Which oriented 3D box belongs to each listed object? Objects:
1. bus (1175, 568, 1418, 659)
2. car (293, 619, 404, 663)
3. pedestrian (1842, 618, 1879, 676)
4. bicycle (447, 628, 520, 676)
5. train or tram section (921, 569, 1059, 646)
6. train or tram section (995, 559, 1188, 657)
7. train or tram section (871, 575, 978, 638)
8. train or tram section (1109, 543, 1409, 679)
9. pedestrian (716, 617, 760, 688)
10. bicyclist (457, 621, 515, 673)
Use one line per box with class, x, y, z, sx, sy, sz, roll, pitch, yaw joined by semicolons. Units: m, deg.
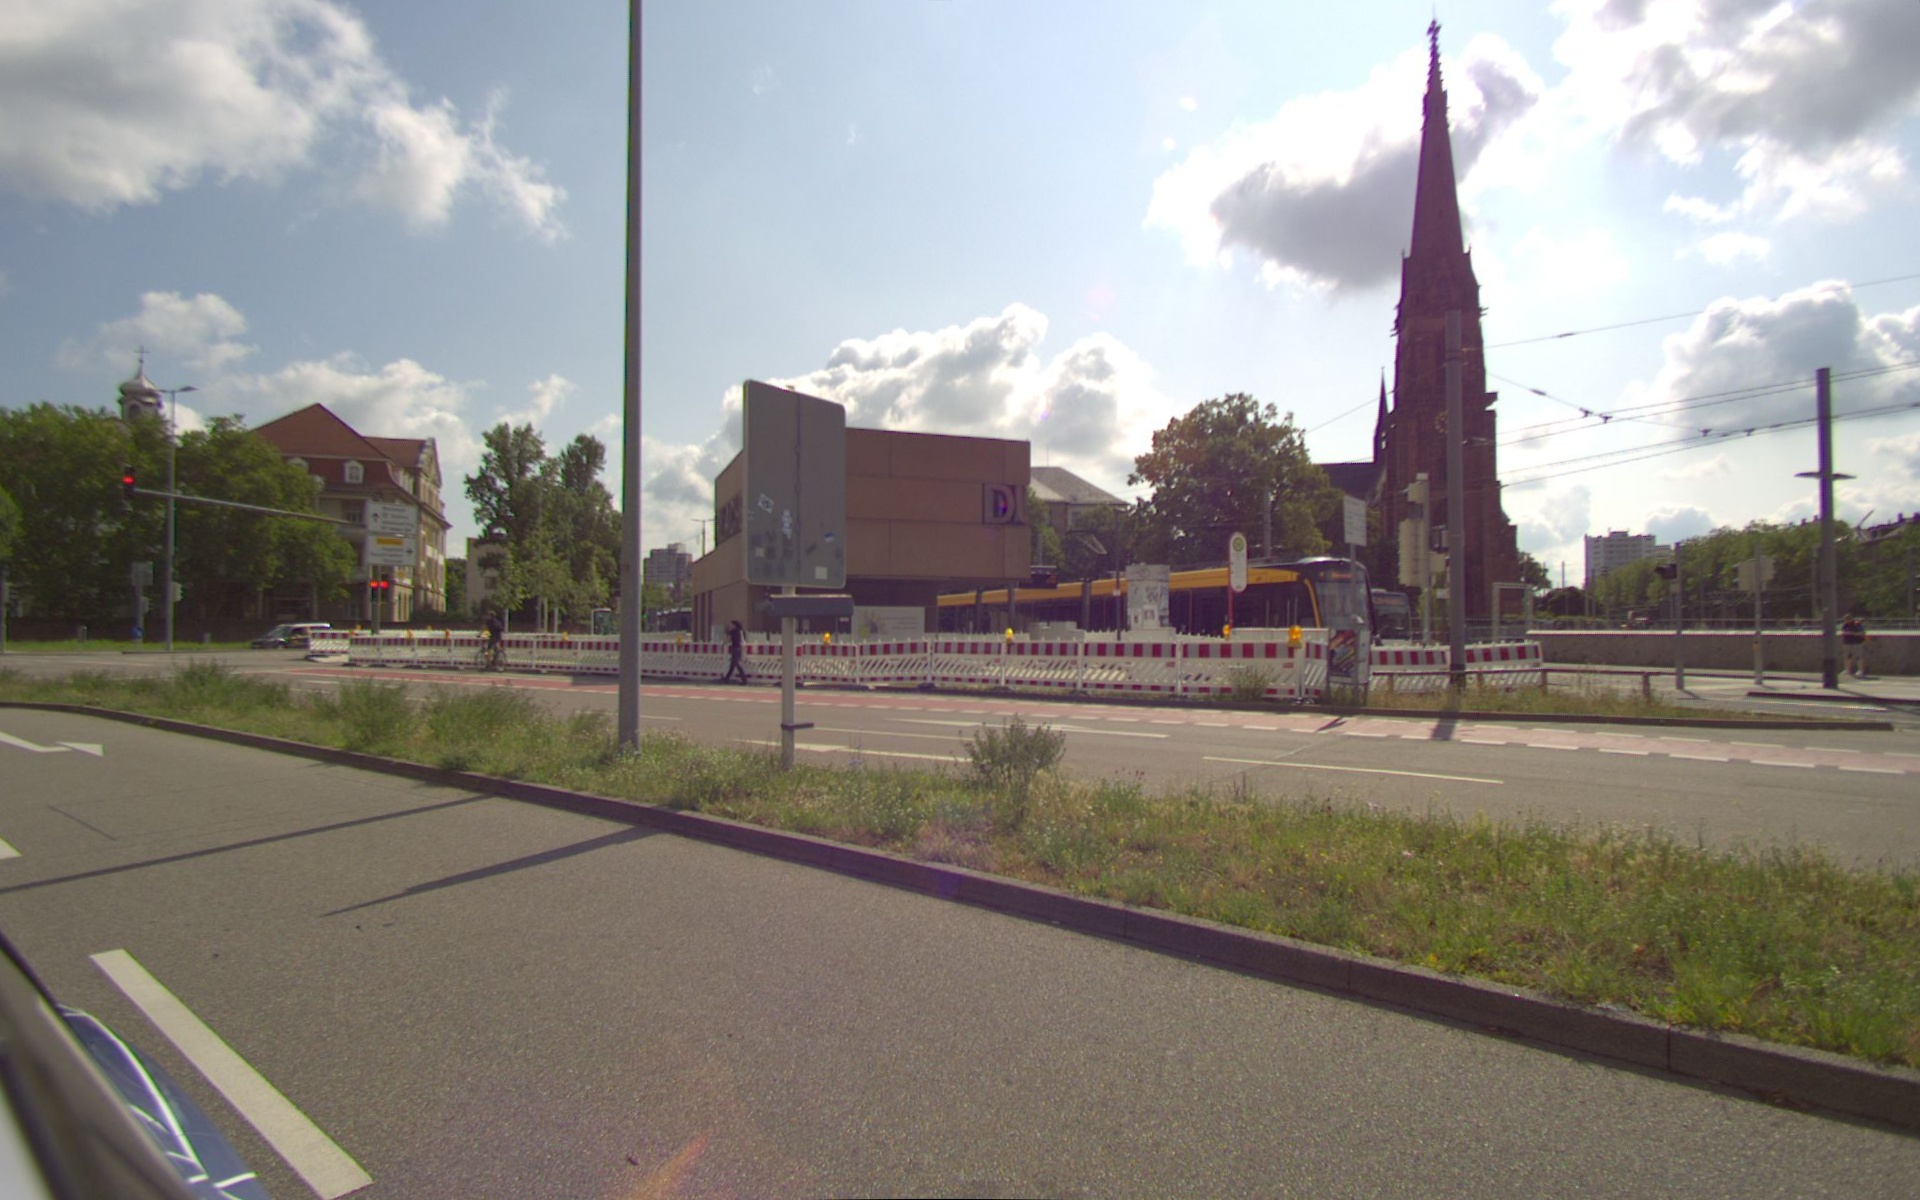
bus;14.894;0.755;46.639;2.865;3.648;12.417;1;-2;-25
car;-26.104;1.722;43.364;3.931;1.796;2.006;1;-2;-28
pedestrian;28.158;1.467;31.643;0.708;1.808;0.564;1;-2;-21
bicycle;-14.620;1.581;31.055;2.286;1.421;0.962;-1;-2;33
train or tram section;1.258;0.335;51.822;3.267;3.507;10.642;-1;0;-20
train or tram section;5.013;0.288;41.769;3.267;3.507;10.642;-1;0;-20
train or tram section;-2.399;0.381;61.729;3.267;3.507;10.642;-1;0;-20
train or tram section;8.714;0.291;31.767;3.267;3.507;10.642;-1;0;-20
pedestrian;-5.654;1.331;25.784;1.001;1.777;0.644;-2;-2;41
bicyclist;-14.564;1.432;31.080;1.770;1.575;0.769;-1;-2;32
